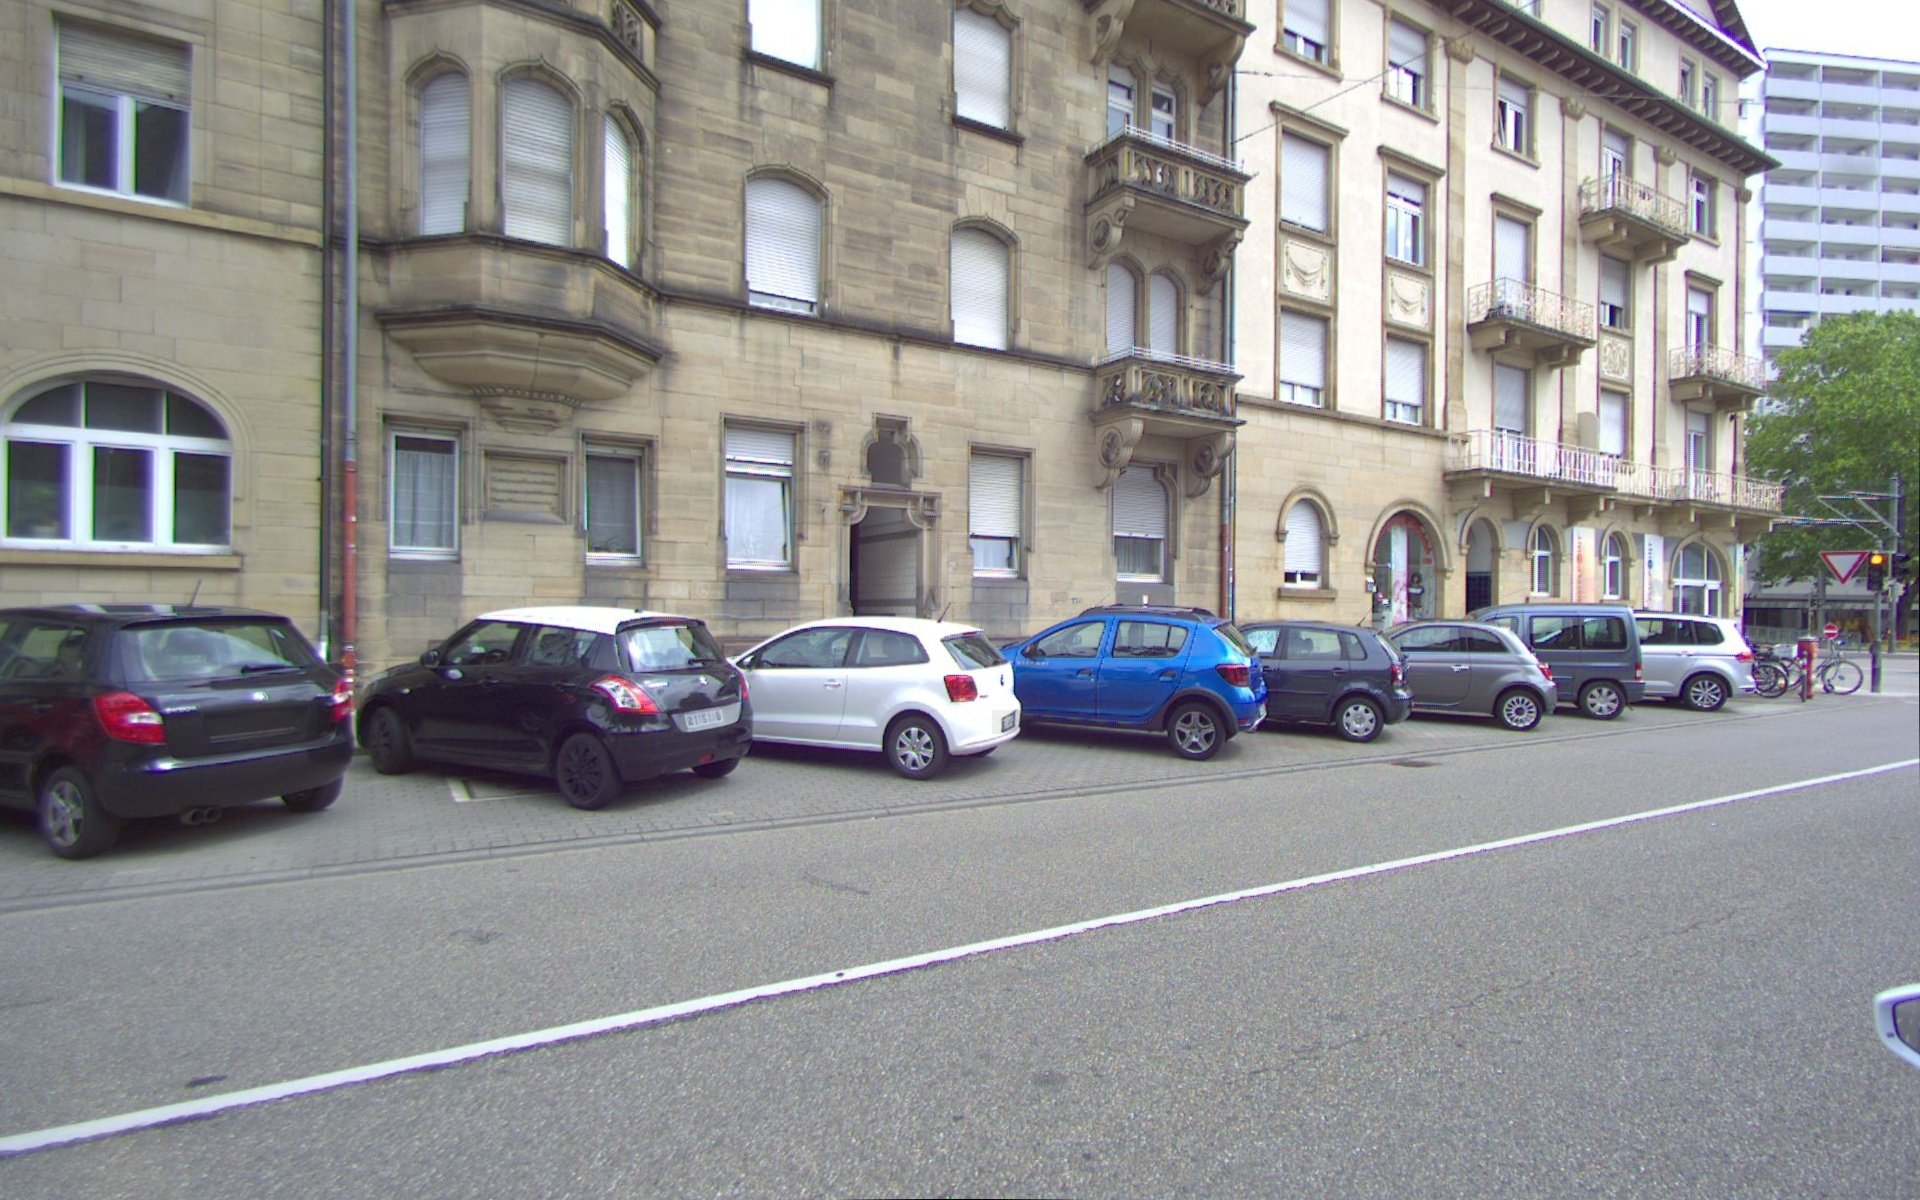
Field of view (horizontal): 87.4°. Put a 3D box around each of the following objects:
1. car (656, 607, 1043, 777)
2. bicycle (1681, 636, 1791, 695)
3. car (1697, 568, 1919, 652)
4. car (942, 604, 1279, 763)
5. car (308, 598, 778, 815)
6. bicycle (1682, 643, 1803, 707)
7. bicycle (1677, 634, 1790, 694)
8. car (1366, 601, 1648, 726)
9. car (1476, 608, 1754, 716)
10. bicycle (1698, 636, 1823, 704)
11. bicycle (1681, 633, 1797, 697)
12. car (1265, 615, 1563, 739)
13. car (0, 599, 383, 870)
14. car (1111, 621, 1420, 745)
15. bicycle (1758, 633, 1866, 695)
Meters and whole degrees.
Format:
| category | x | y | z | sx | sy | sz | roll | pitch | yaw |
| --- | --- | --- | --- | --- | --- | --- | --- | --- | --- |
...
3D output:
| category | x | y | z | sx | sy | sz | roll | pitch | yaw |
| --- | --- | --- | --- | --- | --- | --- | --- | --- | --- |
| car | -1.130 | 0.839 | 10.449 | 3.615 | 1.501 | 1.741 | 0 | -1 | 23 |
| bicycle | 16.964 | 1.397 | 21.987 | 0.589 | 1.135 | 1.795 | 1 | 1 | -38 |
| car | 44.287 | 0.545 | 52.653 | 3.390 | 3.967 | 9.908 | 0 | -1 | -6 |
| car | 1.829 | 0.899 | 12.124 | 3.706 | 1.673 | 1.724 | 0 | -1 | 23 |
| car | -3.776 | 0.795 | 9.045 | 3.938 | 1.585 | 1.794 | 0 | -1 | 27 |
| bicycle | 15.239 | 1.431 | 19.607 | 0.586 | 1.135 | 1.804 | 1 | -1 | -24 |
| bicycle | 16.484 | 1.344 | 21.443 | 0.589 | 1.135 | 1.795 | 1 | 1 | -38 |
| car | 8.976 | 0.990 | 16.875 | 3.933 | 1.904 | 1.796 | 0 | -1 | 20 |
| car | 11.723 | 1.059 | 18.313 | 3.933 | 1.797 | 1.796 | 0 | -1 | 20 |
| bicycle | 15.829 | 1.355 | 19.914 | 0.586 | 1.135 | 1.802 | 1 | 3 | -26 |
| bicycle | 16.135 | 1.323 | 20.842 | 0.589 | 1.182 | 1.795 | 1 | 1 | -38 |
| car | 6.783 | 1.086 | 15.390 | 3.933 | 1.673 | 1.796 | 0 | -1 | 20 |
| car | -6.227 | 0.769 | 7.212 | 3.921 | 1.523 | 1.630 | 0 | -1 | 24 |
| car | 4.182 | 1.038 | 13.787 | 3.829 | 1.463 | 1.836 | 0 | -1 | 24 |
| bicycle | 18.388 | 1.366 | 21.736 | 0.489 | 1.182 | 1.878 | 2 | 1 | -10 |
